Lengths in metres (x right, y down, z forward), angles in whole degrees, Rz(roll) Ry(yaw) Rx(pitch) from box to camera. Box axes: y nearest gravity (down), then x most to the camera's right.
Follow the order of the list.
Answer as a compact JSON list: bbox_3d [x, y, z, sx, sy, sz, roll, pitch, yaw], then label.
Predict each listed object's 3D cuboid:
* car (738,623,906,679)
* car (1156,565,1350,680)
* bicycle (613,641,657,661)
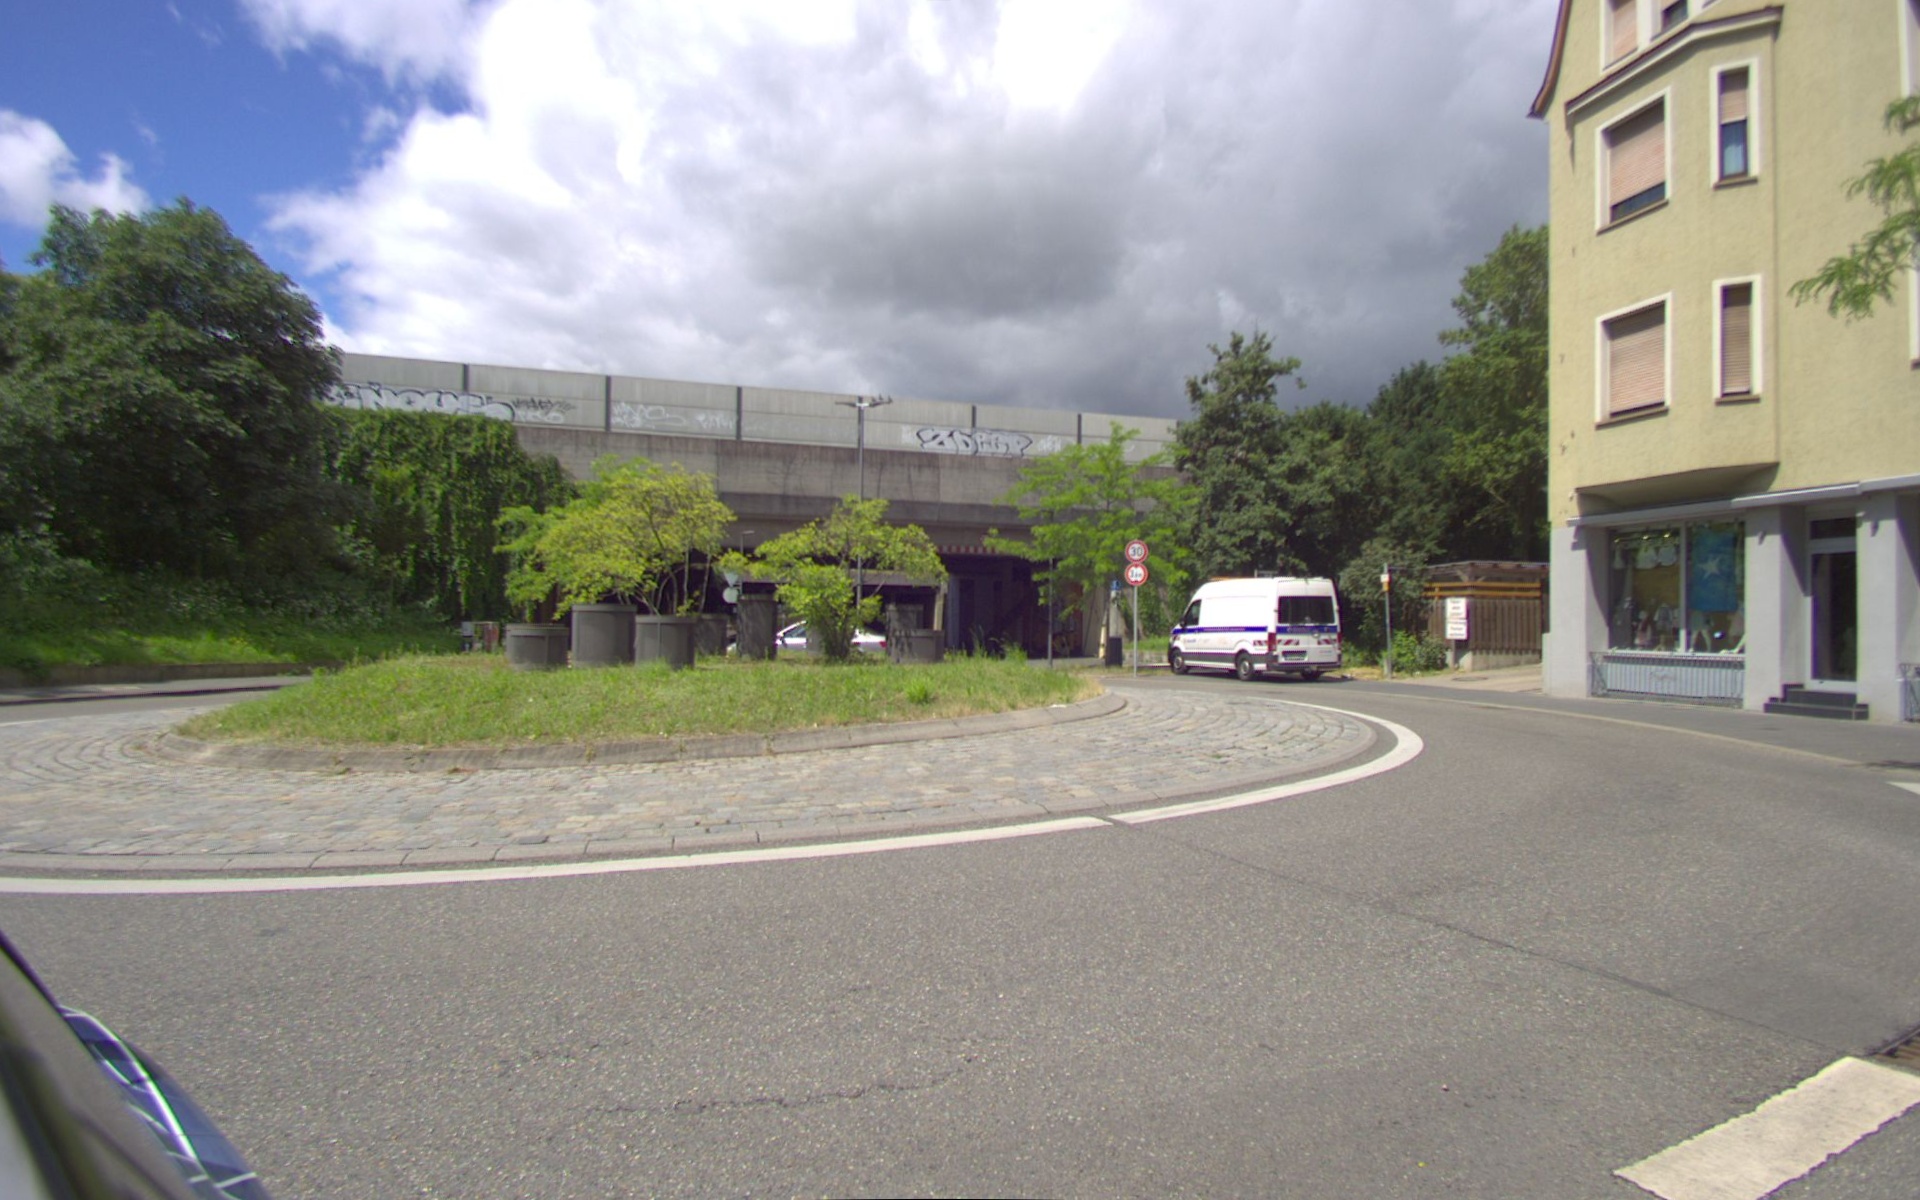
[{"bbox_3d":[-3.494,1.293,25.888,3.955,1.364,1.710,-1,-2,9],"label":"car"},{"bbox_3d":[7.399,0.613,26.451,1.940,2.627,5.947,-1,-2,-16],"label":"car"},{"bbox_3d":[-15.162,2.384,47.213,1.918,0.911,0.508,2,-2,-15],"label":"bicycle"}]
